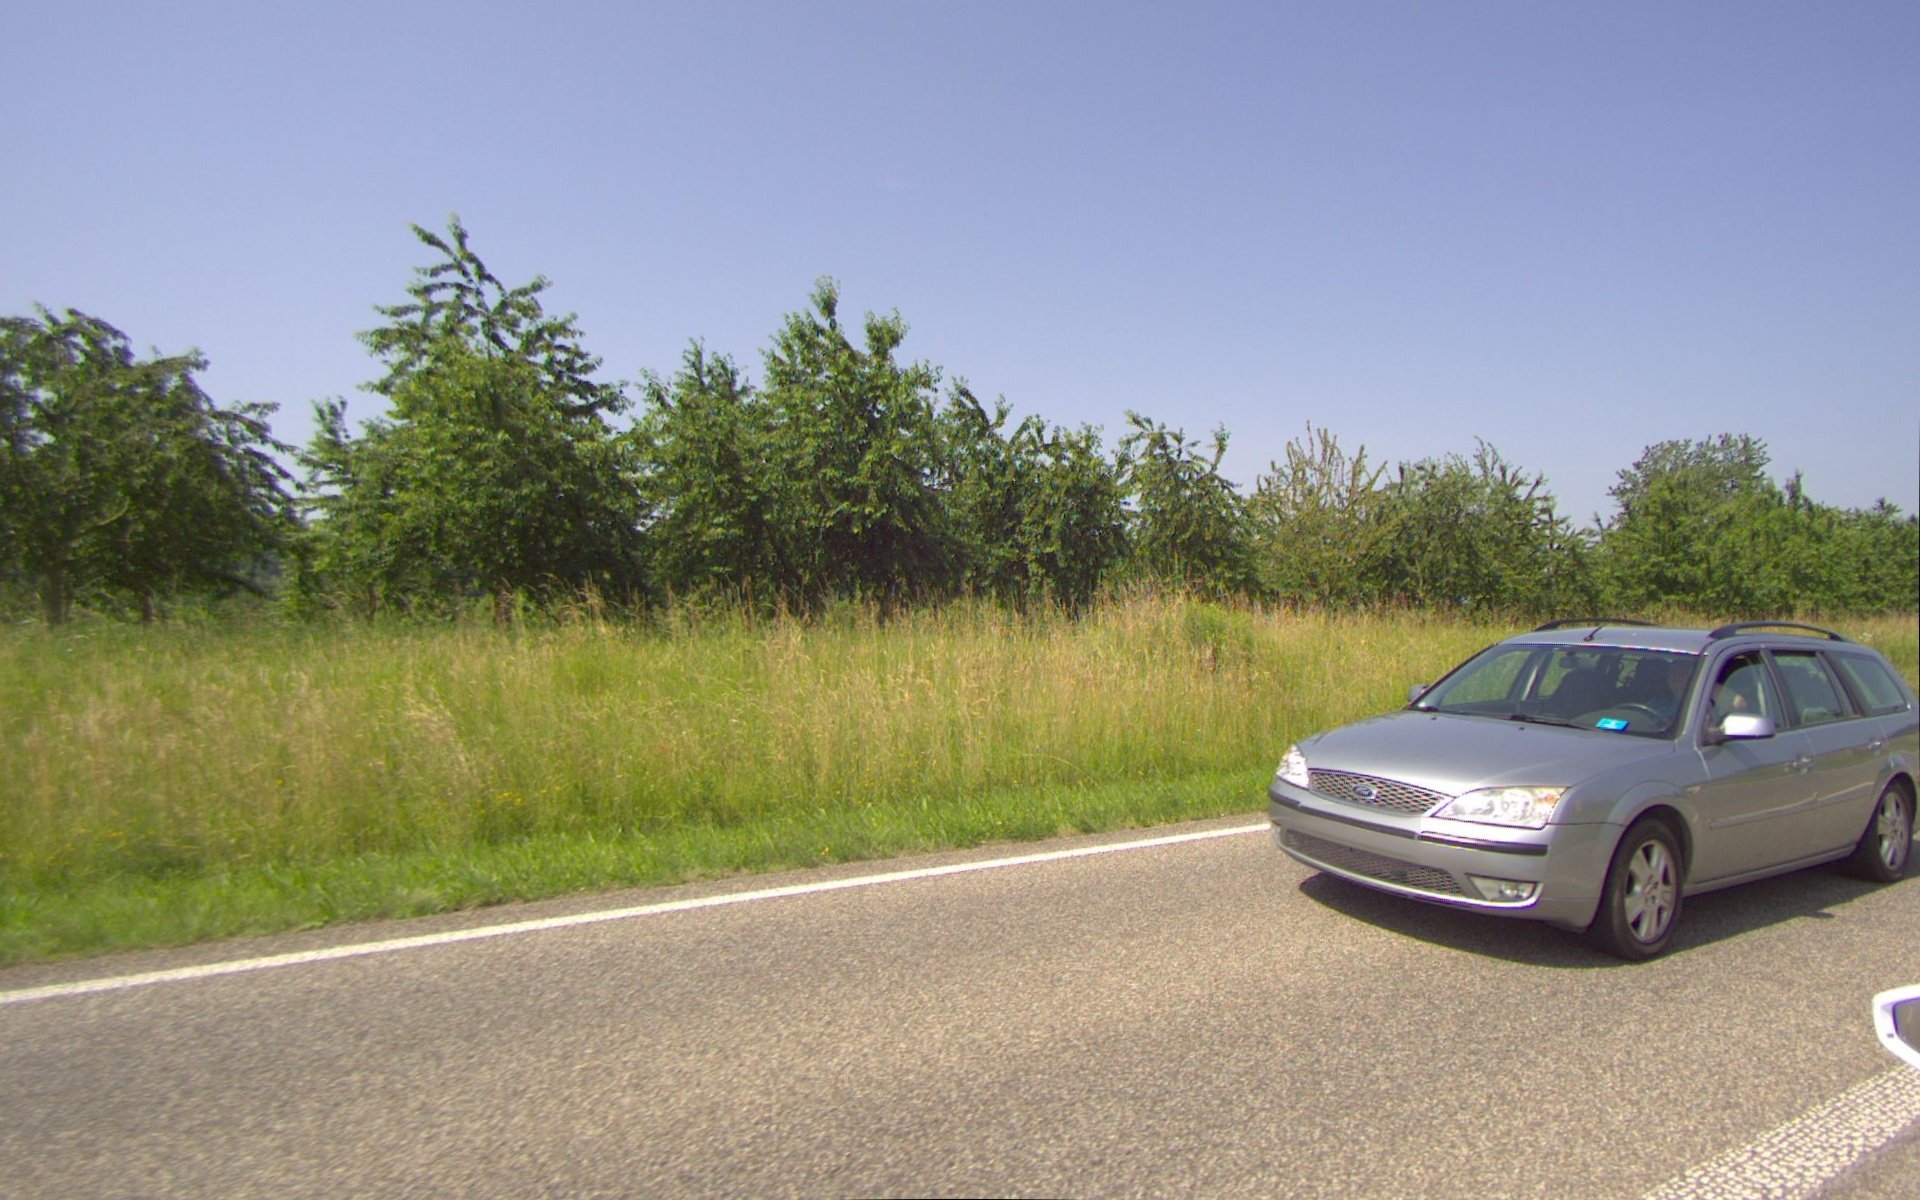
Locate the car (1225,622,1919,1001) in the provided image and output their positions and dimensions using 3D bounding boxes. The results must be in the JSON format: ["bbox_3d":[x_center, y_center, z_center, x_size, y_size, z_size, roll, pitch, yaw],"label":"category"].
[{"bbox_3d":[3.894,0.868,5.812,4.838,1.427,1.682,1,-1,-31],"label":"car"}]
